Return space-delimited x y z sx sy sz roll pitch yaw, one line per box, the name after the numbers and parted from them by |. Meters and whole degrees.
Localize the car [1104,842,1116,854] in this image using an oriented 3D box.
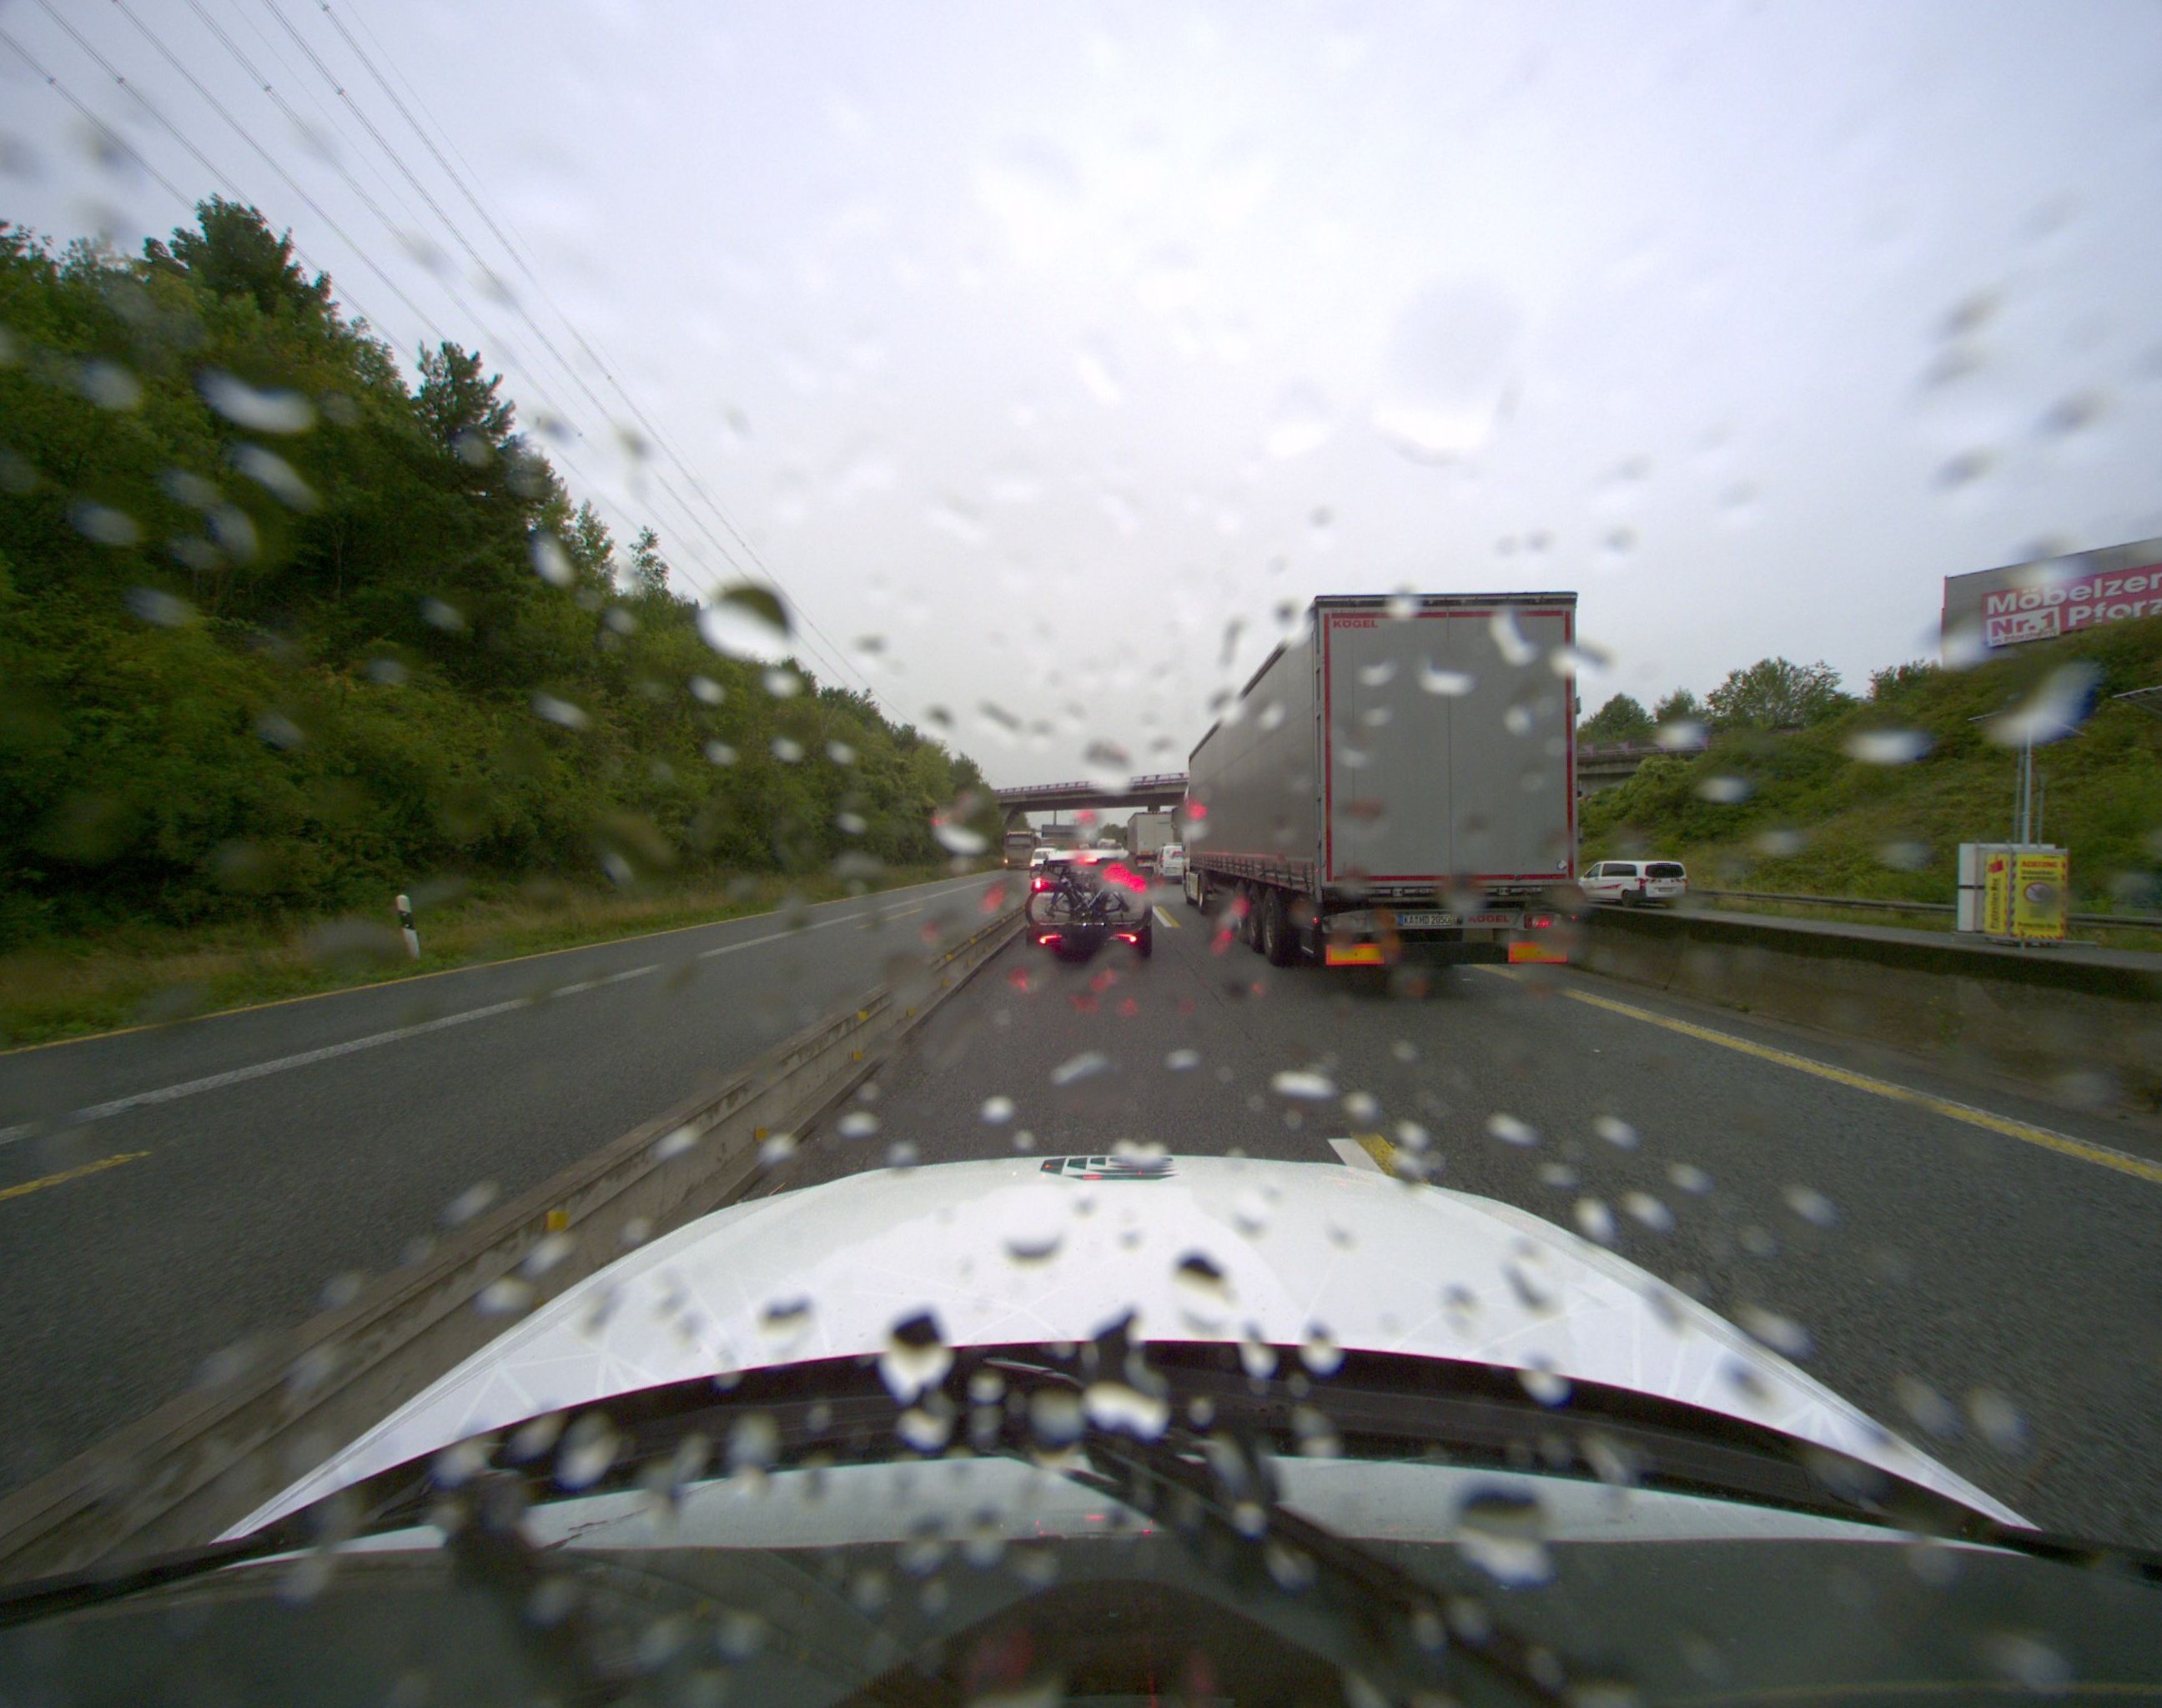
4.897 -0.941 137.340 1.986 2.014 4.002 -1 0 2 | car

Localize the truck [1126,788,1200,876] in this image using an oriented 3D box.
5.937 -1.413 63.256 4.723 5.673 20.393 -1 0 3 | truck

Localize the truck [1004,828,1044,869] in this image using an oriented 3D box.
-5.078 -0.432 74.476 2.526 3.352 12.053 -1 0 1 | truck

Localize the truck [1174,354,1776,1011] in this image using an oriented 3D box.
4.570 -1.448 17.296 3.963 5.673 20.393 -1 0 3 | truck

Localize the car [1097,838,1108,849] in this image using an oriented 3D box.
4.355 -2.062 164.359 1.986 2.126 4.529 -1 0 2 | car

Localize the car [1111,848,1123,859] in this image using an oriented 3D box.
4.899 -0.030 112.089 1.632 1.497 3.668 -1 0 2 | car

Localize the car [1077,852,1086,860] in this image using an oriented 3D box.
0.081 0.386 159.035 1.680 1.409 3.930 -1 0 0 | car

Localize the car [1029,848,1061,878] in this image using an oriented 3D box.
-2.282 0.537 52.539 1.804 1.824 4.635 -1 0 0 | car

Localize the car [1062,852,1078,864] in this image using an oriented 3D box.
-1.235 0.455 93.169 1.680 1.409 3.930 -1 0 0 | car

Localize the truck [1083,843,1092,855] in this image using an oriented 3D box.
2.044 -1.452 244.144 2.526 3.352 12.053 -1 0 1 | truck

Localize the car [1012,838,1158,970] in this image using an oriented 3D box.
0.182 0.636 12.500 1.802 1.637 4.639 -1 0 3 | car

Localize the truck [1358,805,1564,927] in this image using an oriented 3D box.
11.377 0.331 25.643 2.511 3.131 9.123 -1 0 2 | truck

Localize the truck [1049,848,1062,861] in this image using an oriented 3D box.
-7.439 0.048 237.629 2.671 3.656 12.318 -1 0 2 | truck

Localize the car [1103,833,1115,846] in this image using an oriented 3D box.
5.147 -2.587 150.227 2.230 2.307 4.574 -1 0 2 | car

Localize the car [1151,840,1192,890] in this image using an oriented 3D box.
4.175 0.481 38.141 1.663 2.180 4.538 -1 0 3 | car

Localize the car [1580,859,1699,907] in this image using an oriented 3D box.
22.933 1.123 33.712 1.934 1.829 4.732 -1 0 4 | car

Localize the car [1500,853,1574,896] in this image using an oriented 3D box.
23.284 1.021 41.720 1.721 2.058 4.129 -1 0 4 | car

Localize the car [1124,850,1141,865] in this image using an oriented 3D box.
5.453 0.374 86.640 1.632 1.497 3.668 -1 0 2 | car

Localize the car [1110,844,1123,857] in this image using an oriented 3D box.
5.515 -0.552 125.751 1.986 2.014 4.002 -1 0 2 | car
